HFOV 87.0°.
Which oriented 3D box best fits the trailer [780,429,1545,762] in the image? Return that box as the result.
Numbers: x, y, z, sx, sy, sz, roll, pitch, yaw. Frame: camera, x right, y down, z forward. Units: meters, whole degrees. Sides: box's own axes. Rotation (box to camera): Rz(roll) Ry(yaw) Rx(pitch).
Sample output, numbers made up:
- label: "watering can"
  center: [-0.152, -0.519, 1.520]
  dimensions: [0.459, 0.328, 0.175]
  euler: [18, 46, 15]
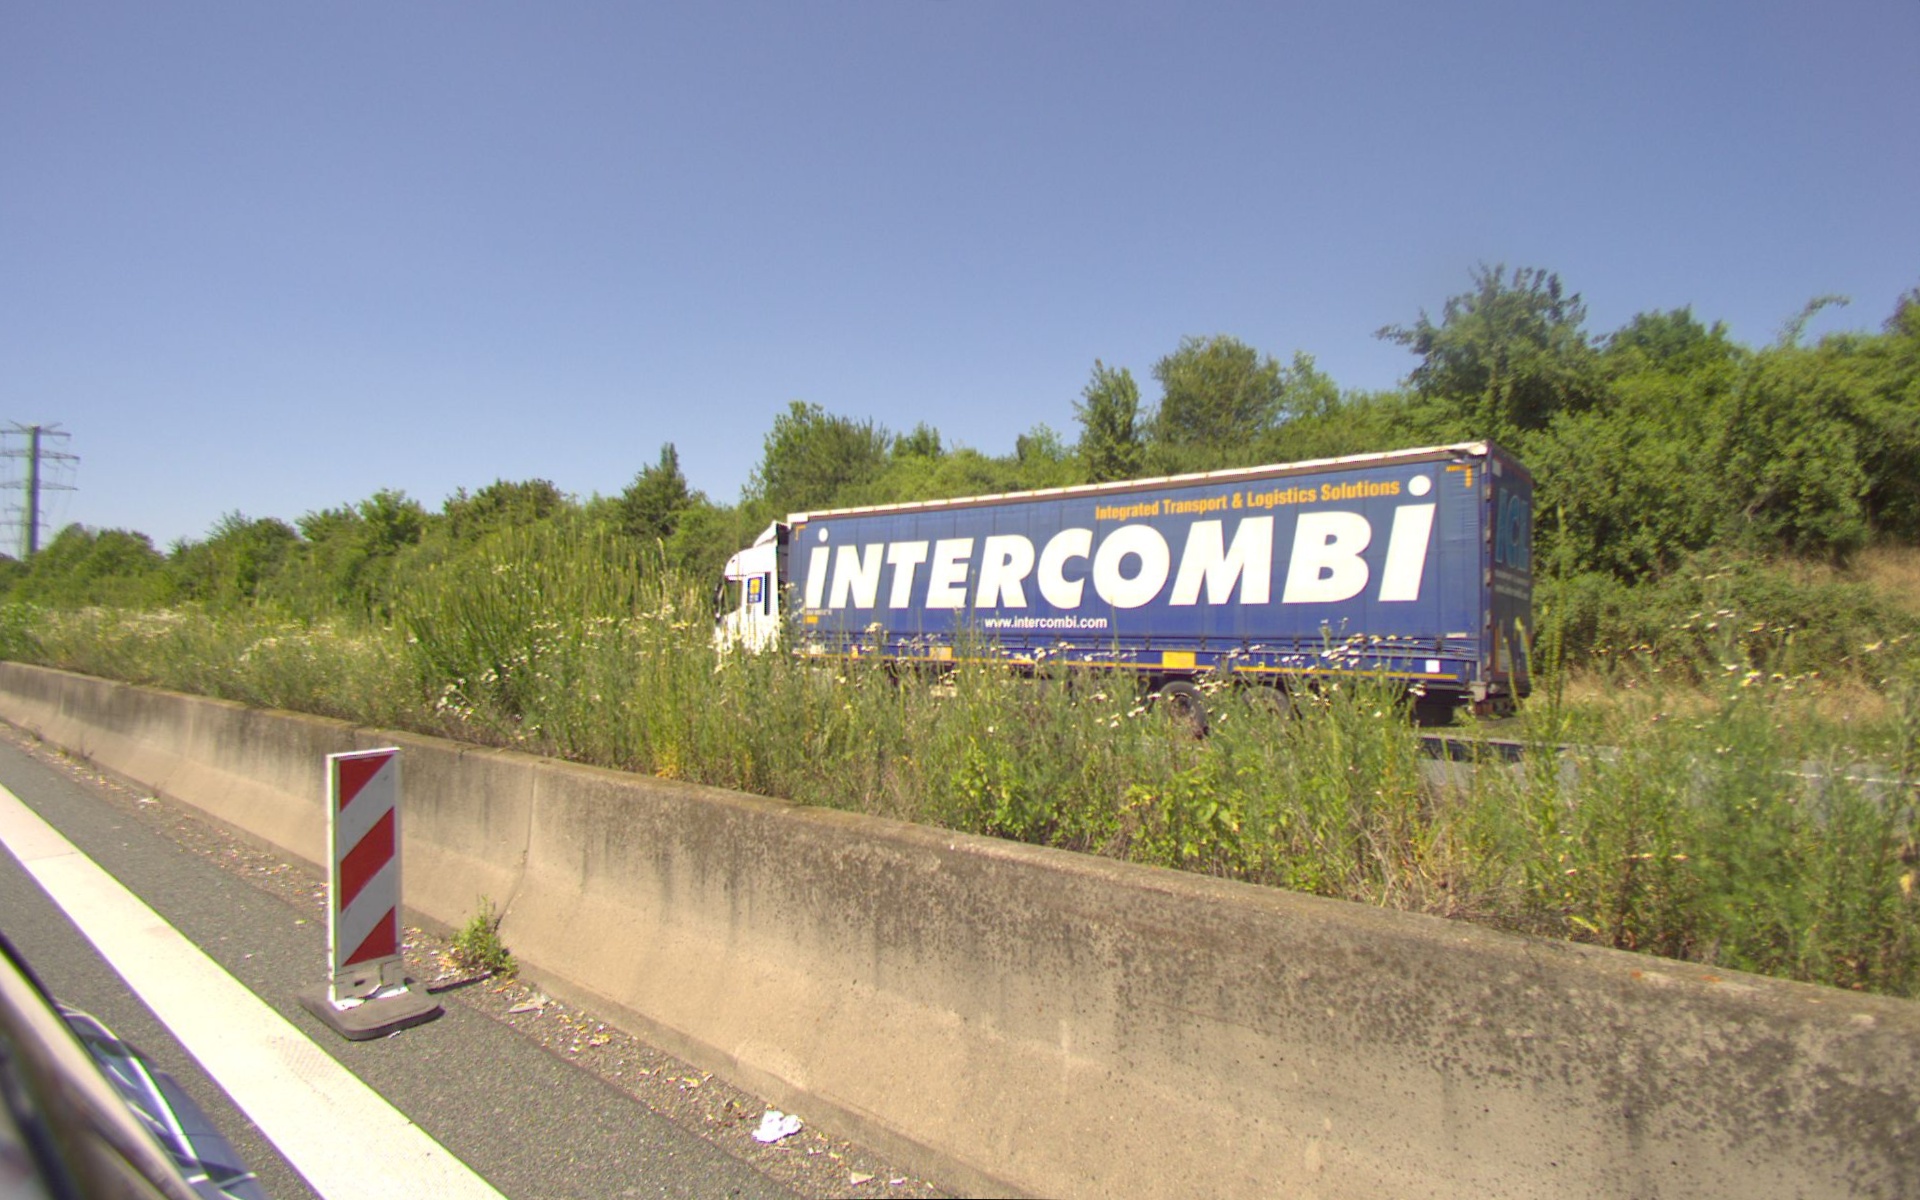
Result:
- label: "trailer"
  center: [2.360, 0.125, 17.957]
  dimensions: [13.586, 4.088, 2.930]
  euler: [-1, -4, 41]

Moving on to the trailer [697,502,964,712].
- label: "trailer"
  center: [-2.955, 0.249, 22.557]
  dimensions: [5.430, 4.088, 2.930]
  euler: [-1, -4, 41]

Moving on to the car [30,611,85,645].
- label: "car"
  center: [-57.591, 1.781, 64.540]
  dimensions: [5.226, 2.107, 1.973]
  euler: [-1, -2, 41]
